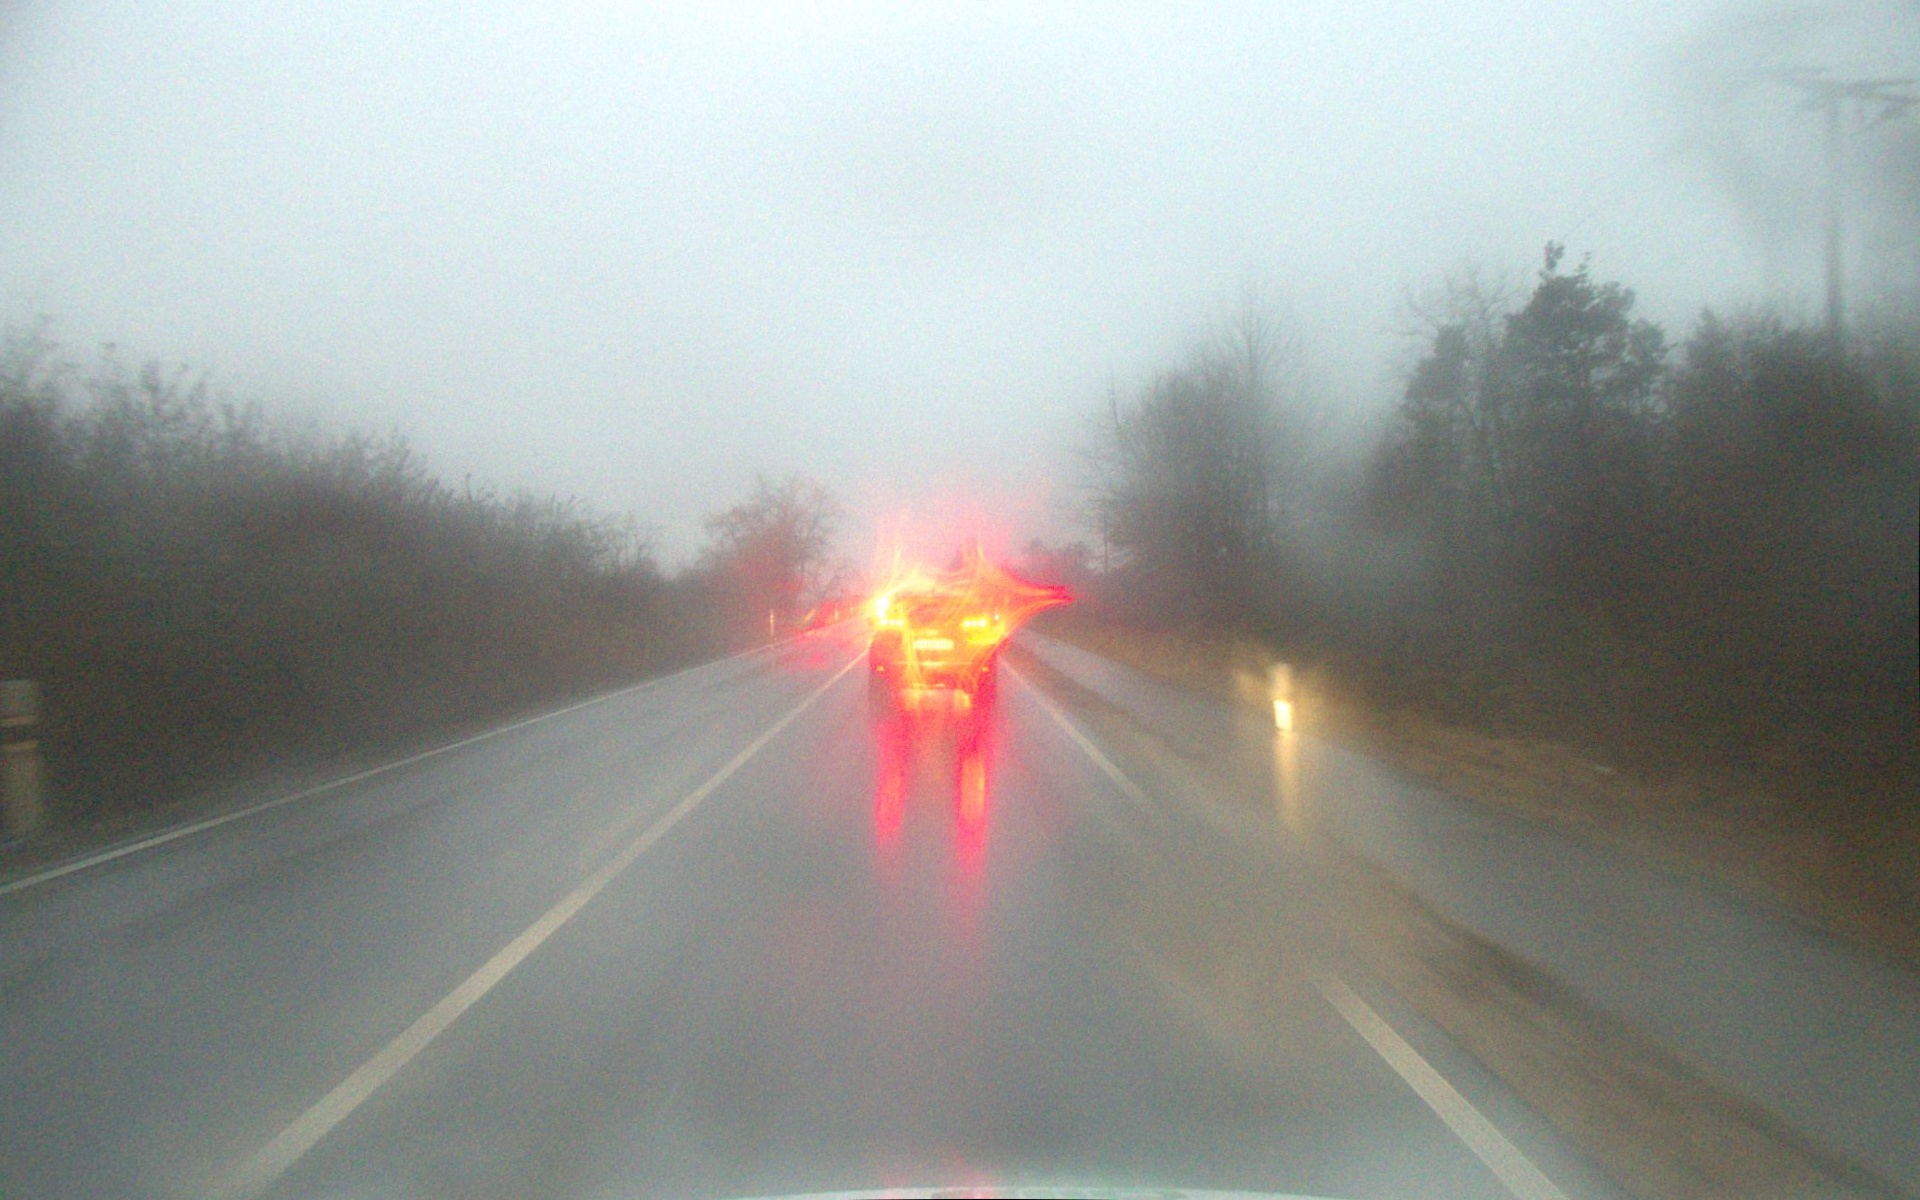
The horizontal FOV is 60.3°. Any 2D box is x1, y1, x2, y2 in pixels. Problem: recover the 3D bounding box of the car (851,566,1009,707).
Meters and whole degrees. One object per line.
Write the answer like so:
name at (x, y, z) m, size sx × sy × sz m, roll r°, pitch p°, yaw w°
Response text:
car at (-0.432, 0.474, 24.376) m, size 2.077 × 1.852 × 4.979 m, roll 0°, pitch 0°, yaw -1°
